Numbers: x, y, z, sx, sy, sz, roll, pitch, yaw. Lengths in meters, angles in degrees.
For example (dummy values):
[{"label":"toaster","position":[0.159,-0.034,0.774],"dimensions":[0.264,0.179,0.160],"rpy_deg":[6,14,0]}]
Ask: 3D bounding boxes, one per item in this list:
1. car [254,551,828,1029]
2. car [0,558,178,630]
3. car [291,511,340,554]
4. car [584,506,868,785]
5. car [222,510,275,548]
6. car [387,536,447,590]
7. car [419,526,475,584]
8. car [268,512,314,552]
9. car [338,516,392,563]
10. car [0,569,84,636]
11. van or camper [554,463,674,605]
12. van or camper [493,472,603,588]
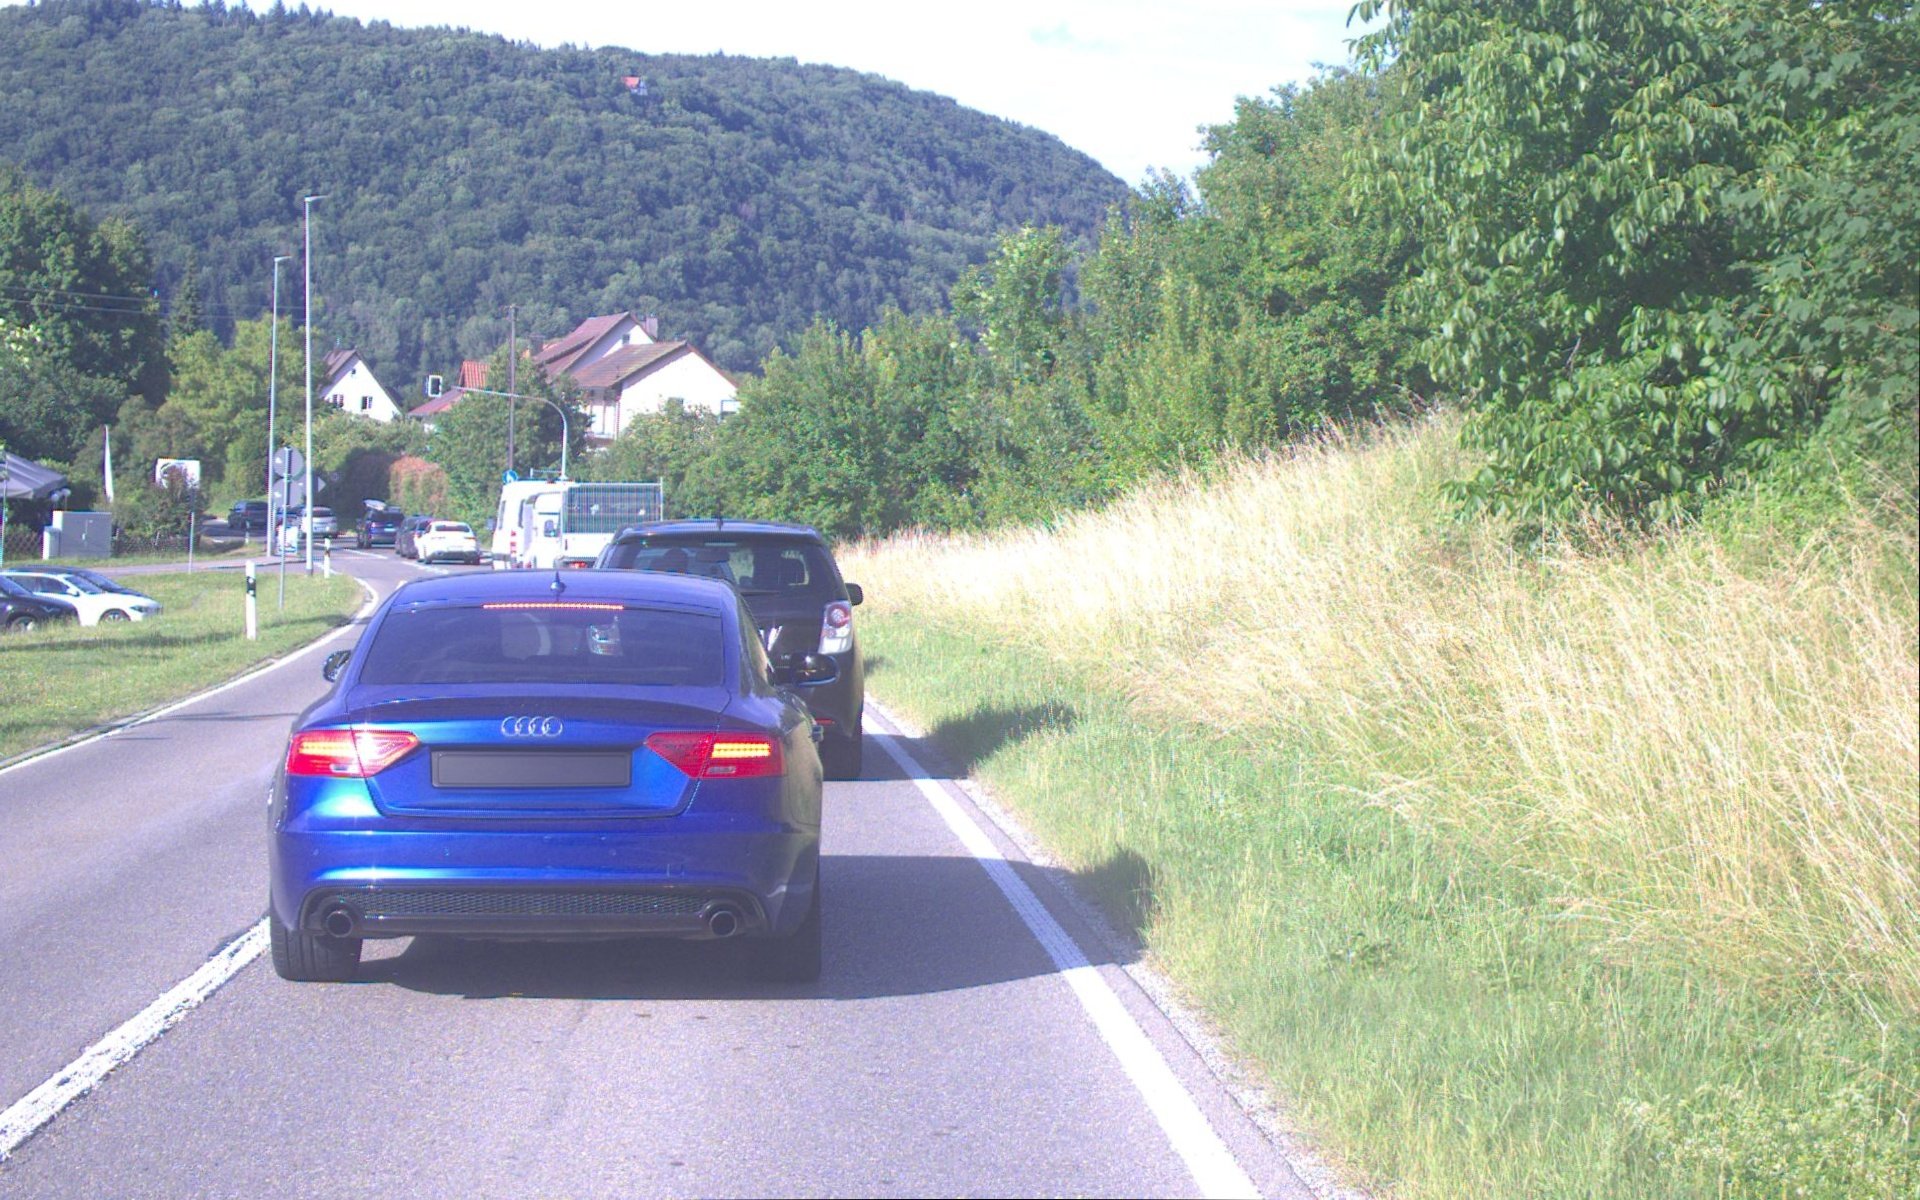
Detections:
[{"label":"car","position":[-1.377,0.553,12.260],"dimensions":[1.742,1.445,3.517],"rpy_deg":[0,1,-3]},{"label":"car","position":[-20.500,-0.151,80.346],"dimensions":[4.036,1.655,1.655],"rpy_deg":[0,1,7]},{"label":"car","position":[-29.886,-3.116,159.427],"dimensions":[1.676,1.918,4.001],"rpy_deg":[-1,1,-18]},{"label":"car","position":[-1.574,0.242,22.211],"dimensions":[1.645,1.619,3.518],"rpy_deg":[2,1,-6]},{"label":"car","position":[-36.935,-3.667,178.505],"dimensions":[1.954,1.918,4.001],"rpy_deg":[-1,1,-23]},{"label":"car","position":[-19.500,-1.331,123.293],"dimensions":[1.659,1.918,4.001],"rpy_deg":[-1,1,-16]},{"label":"car","position":[-17.235,-1.510,115.461],"dimensions":[1.659,1.918,4.001],"rpy_deg":[-1,1,-11]},{"label":"car","position":[-32.644,-3.319,167.663],"dimensions":[1.676,1.918,4.001],"rpy_deg":[-1,1,-18]},{"label":"car","position":[-24.641,-2.503,142.307],"dimensions":[1.676,1.918,4.001],"rpy_deg":[-1,1,-17]},{"label":"car","position":[-21.341,0.041,75.658],"dimensions":[3.713,1.434,1.509],"rpy_deg":[0,1,7]},{"label":"van or camper","position":[-6.465,-1.213,63.795],"dimensions":[2.051,2.497,5.813],"rpy_deg":[-1,1,-7]},{"label":"van or camper","position":[-10.072,-1.679,83.647],"dimensions":[2.280,2.704,5.769],"rpy_deg":[-1,1,-10]}]
